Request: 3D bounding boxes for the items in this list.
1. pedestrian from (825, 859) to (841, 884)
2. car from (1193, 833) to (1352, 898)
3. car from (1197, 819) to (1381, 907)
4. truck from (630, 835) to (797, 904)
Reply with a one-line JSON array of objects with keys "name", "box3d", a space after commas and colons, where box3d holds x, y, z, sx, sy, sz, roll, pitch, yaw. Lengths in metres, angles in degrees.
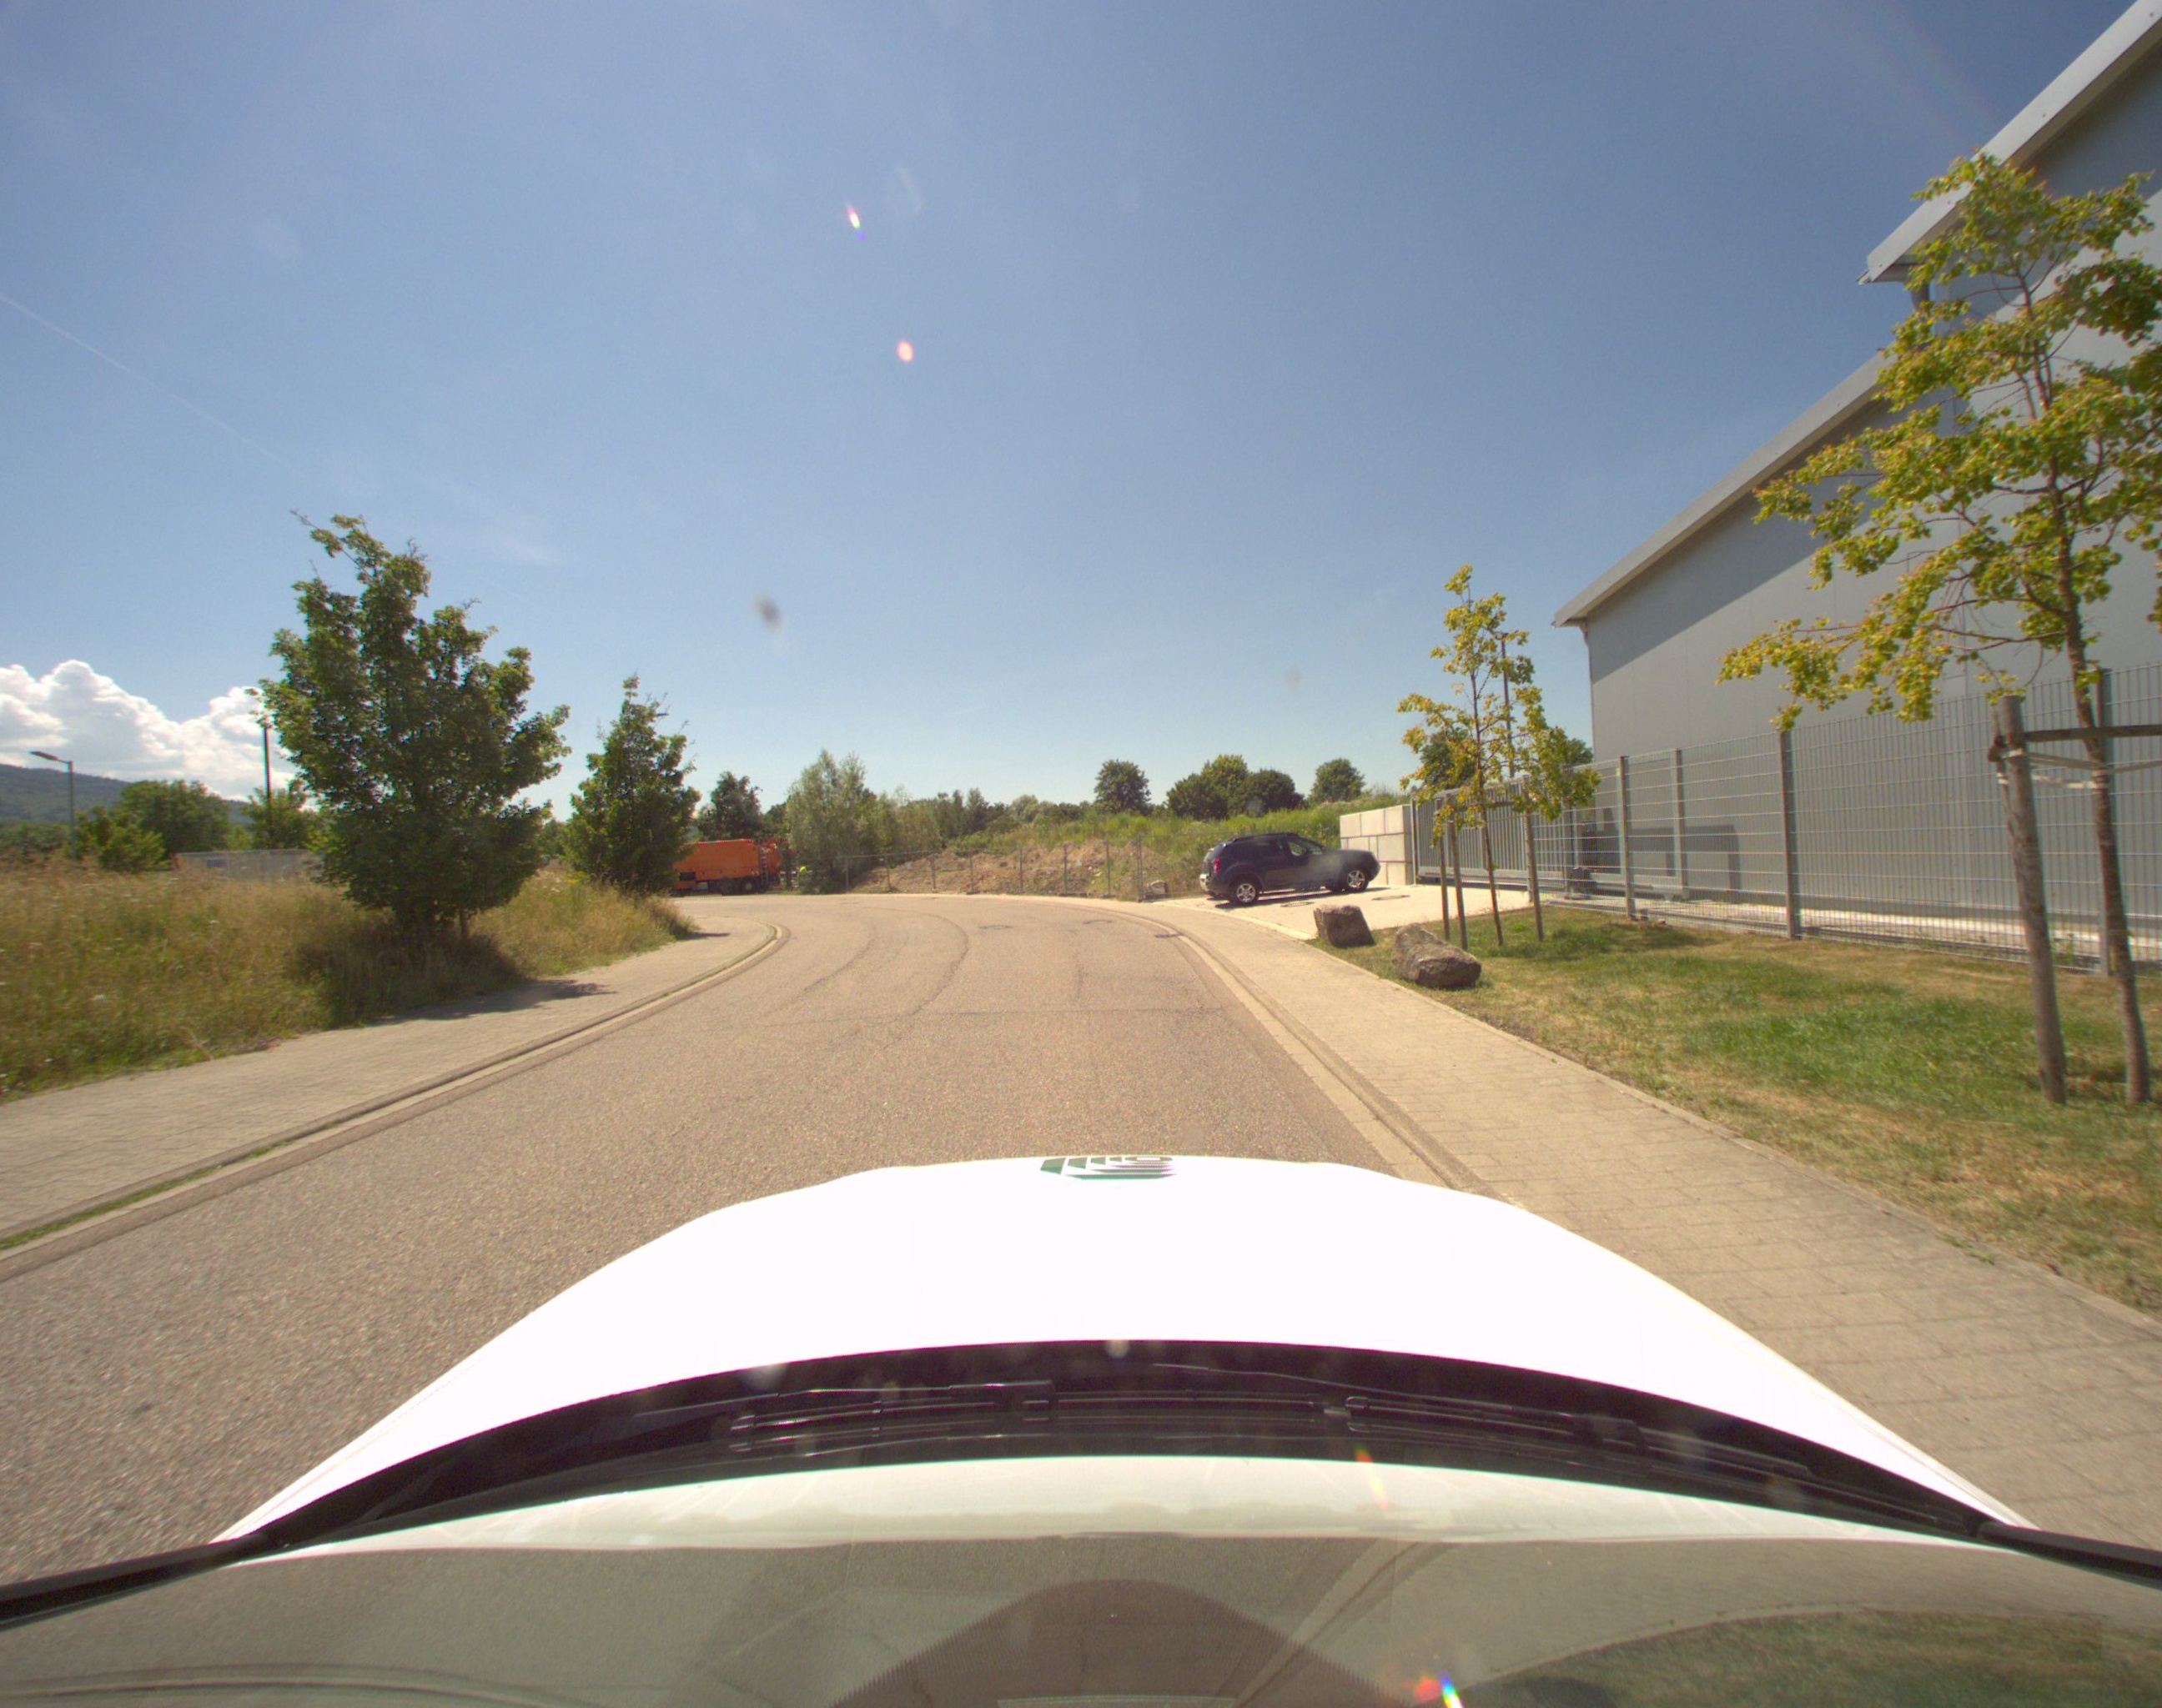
[{"name": "pedestrian", "box3d": [-18.069, 1.276, 59.313, 0.873, 1.825, 0.740, -2, 0, 0]}, {"name": "car", "box3d": [5.346, 0.320, 23.144, 3.996, 1.462, 1.893, -5, -1, 0]}, {"name": "car", "box3d": [5.101, 0.218, 20.407, 3.996, 1.655, 1.858, -7, -1, 1]}, {"name": "truck", "box3d": [-23.140, 0.921, 51.837, 8.561, 3.806, 4.161, -3, 0, -2]}]
